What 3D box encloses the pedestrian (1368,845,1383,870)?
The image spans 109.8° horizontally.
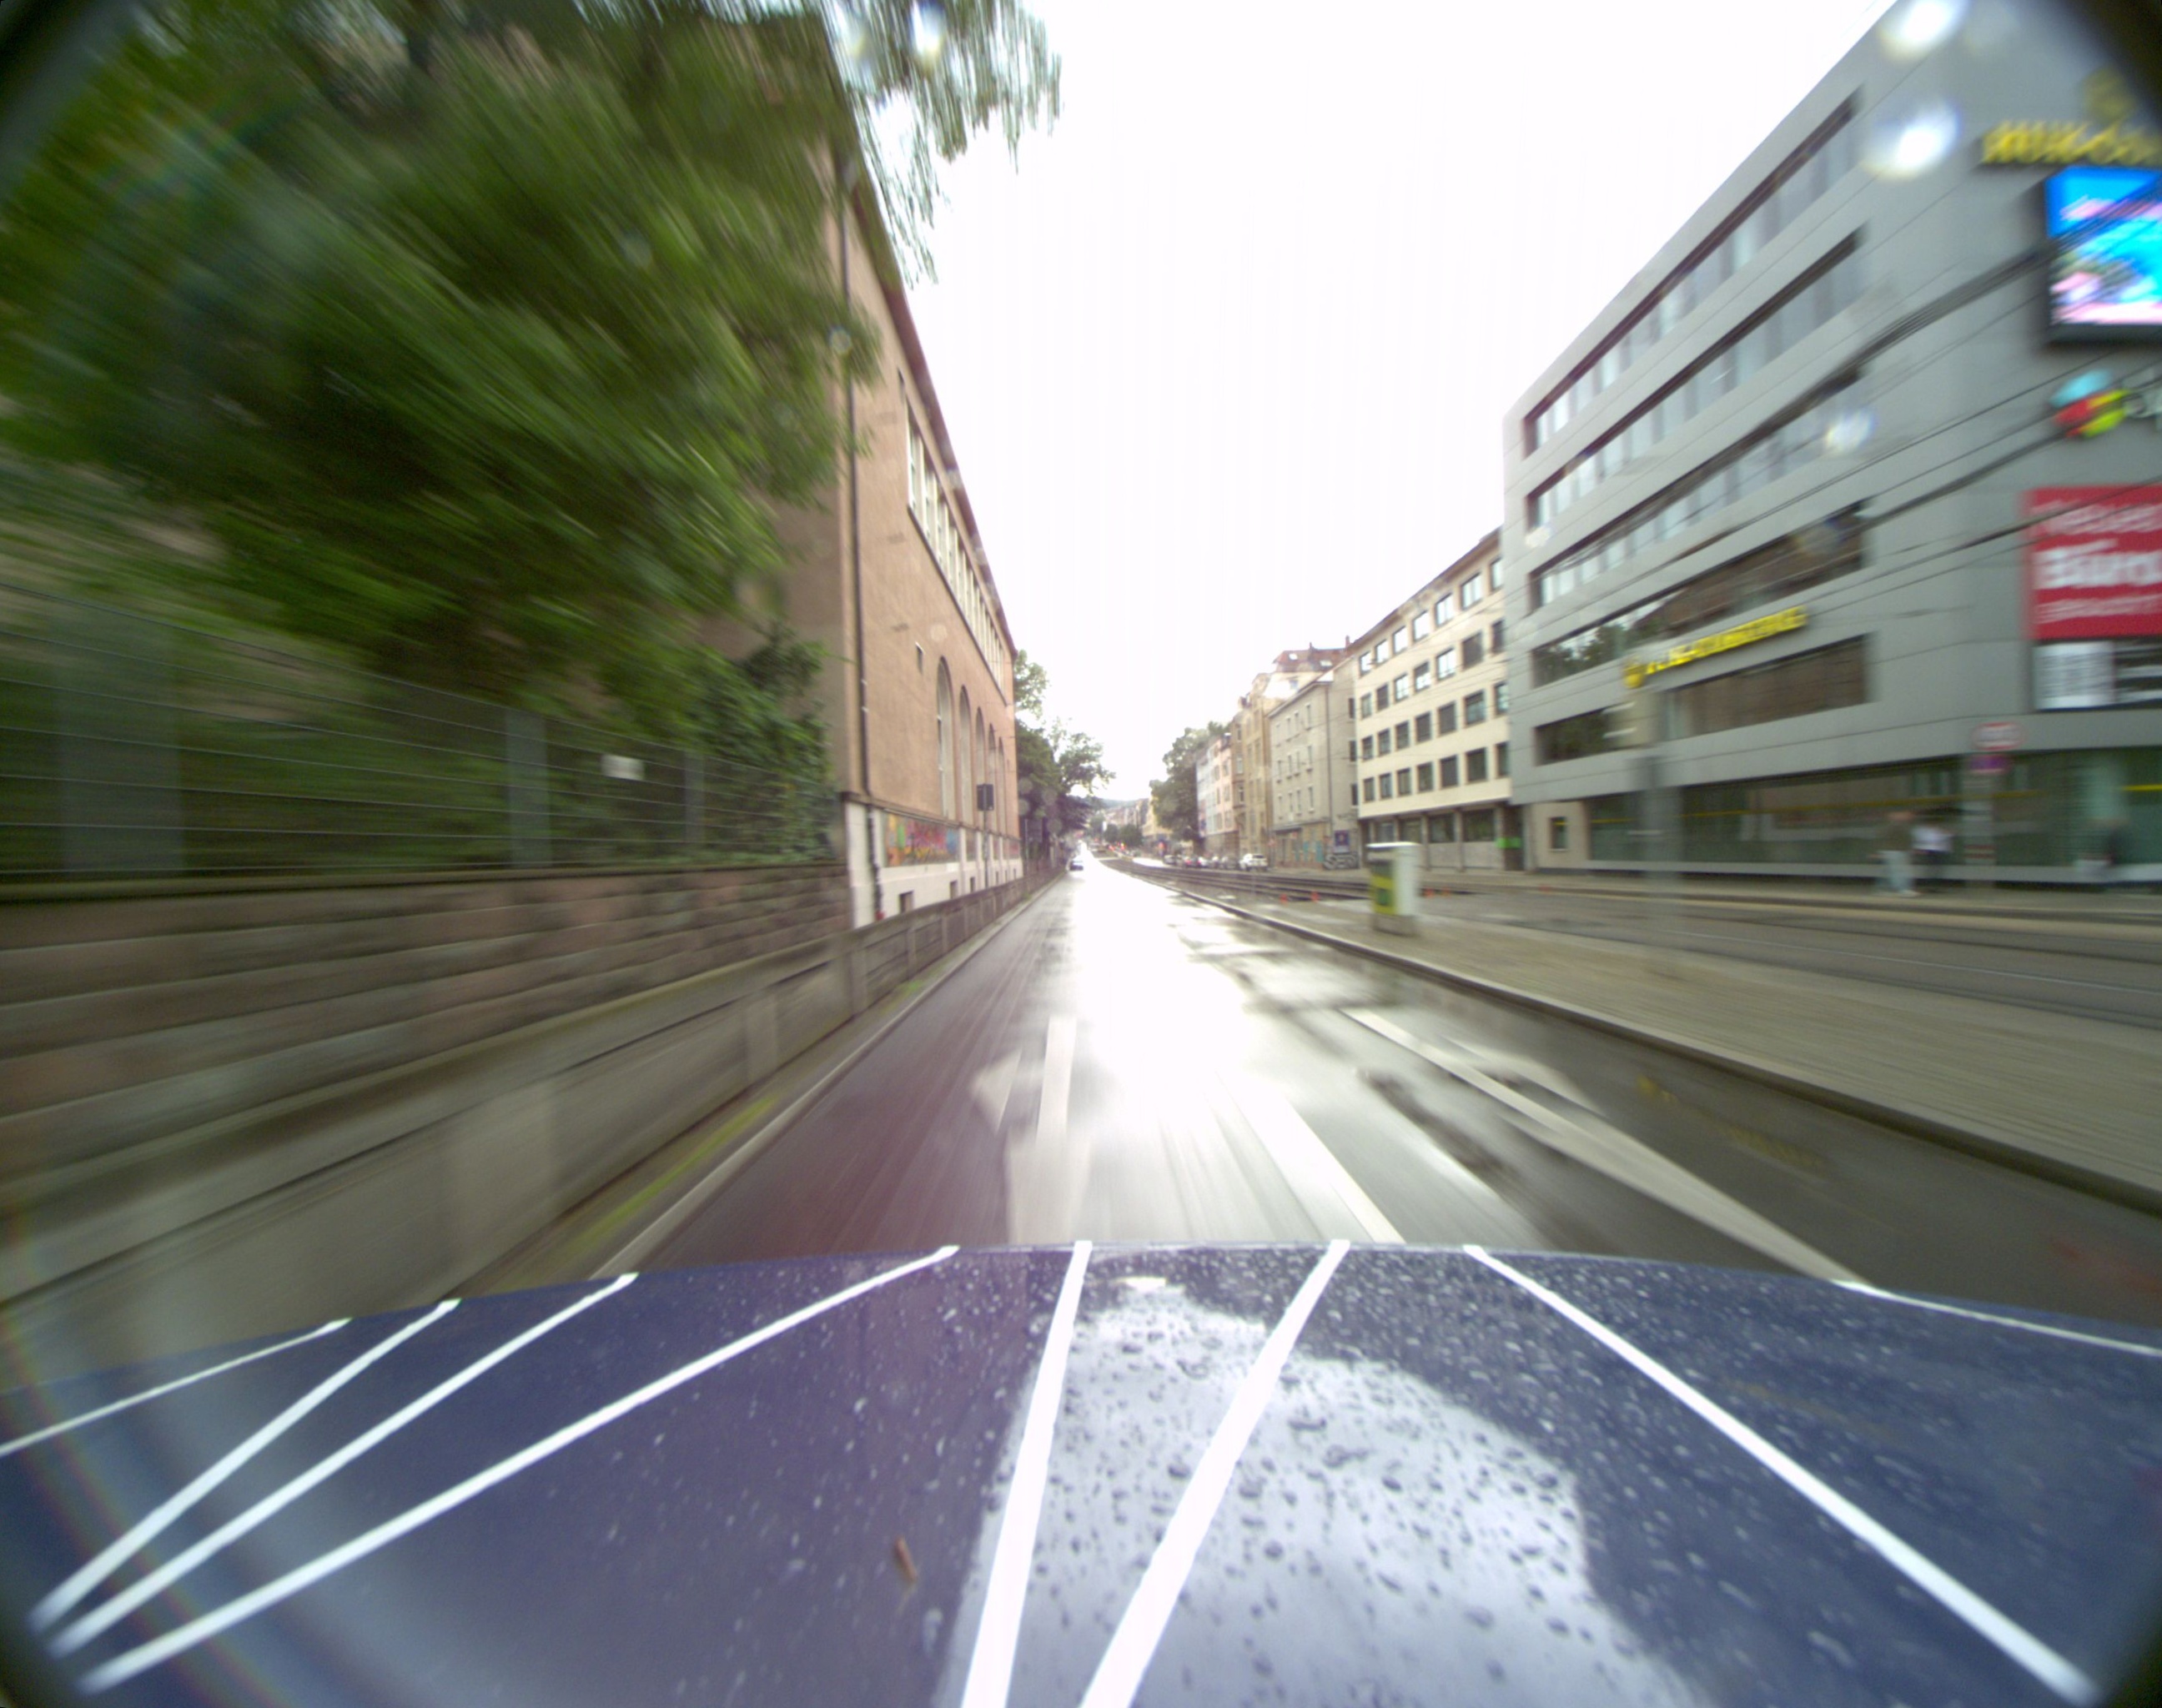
[{"bbox_3d":[19.431,0.222,50.107,0.548,1.603,0.799,-5,0,3],"label":"pedestrian"}]

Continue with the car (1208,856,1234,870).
[{"bbox_3d":[16.004,0.996,87.073,1.999,1.447,5.022,1,0,0],"label":"car"}]

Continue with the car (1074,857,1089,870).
[{"bbox_3d":[0.100,1.225,95.419,1.788,1.521,4.245,-2,0,1],"label":"car"}]

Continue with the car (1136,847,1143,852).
[{"bbox_3d":[18.953,-1.454,247.998,1.998,1.674,4.000,-2,0,1],"label":"car"}]

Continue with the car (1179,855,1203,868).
[{"bbox_3d":[12.664,0.852,87.799,1.945,1.527,4.347,1,0,-3],"label":"car"}]

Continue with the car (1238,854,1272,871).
[{"bbox_3d":[15.979,0.769,69.981,1.999,1.527,4.749,1,0,0],"label":"car"}]

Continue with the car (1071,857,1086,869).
[{"bbox_3d":[-0.356,1.220,102.111,1.760,1.521,4.333,-2,0,-1],"label":"car"}]

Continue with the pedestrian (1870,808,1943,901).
[{"bbox_3d":[18.432,0.013,16.986,0.662,2.002,0.810,-4,1,-2],"label":"pedestrian"}]

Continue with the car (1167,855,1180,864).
[{"bbox_3d":[16.671,0.938,137.388,1.842,1.532,4.228,0,0,1],"label":"car"}]

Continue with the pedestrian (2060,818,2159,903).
[{"bbox_3d":[20.072,0.131,14.853,0.964,1.585,0.590,-3,1,35],"label":"pedestrian"}]

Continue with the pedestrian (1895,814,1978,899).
[{"bbox_3d":[19.277,0.055,17.139,0.972,1.805,0.663,-4,1,13],"label":"pedestrian"}]

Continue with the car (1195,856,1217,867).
[{"bbox_3d":[16.077,0.918,97.754,1.998,1.389,5.022,1,0,1],"label":"car"}]

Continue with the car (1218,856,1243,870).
[{"bbox_3d":[16.018,0.906,81.553,1.741,1.447,4.170,1,0,0],"label":"car"}]

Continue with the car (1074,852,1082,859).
[{"bbox_3d":[-0.716,0.355,183.099,1.998,1.674,4.125,-1,0,1],"label":"car"}]
